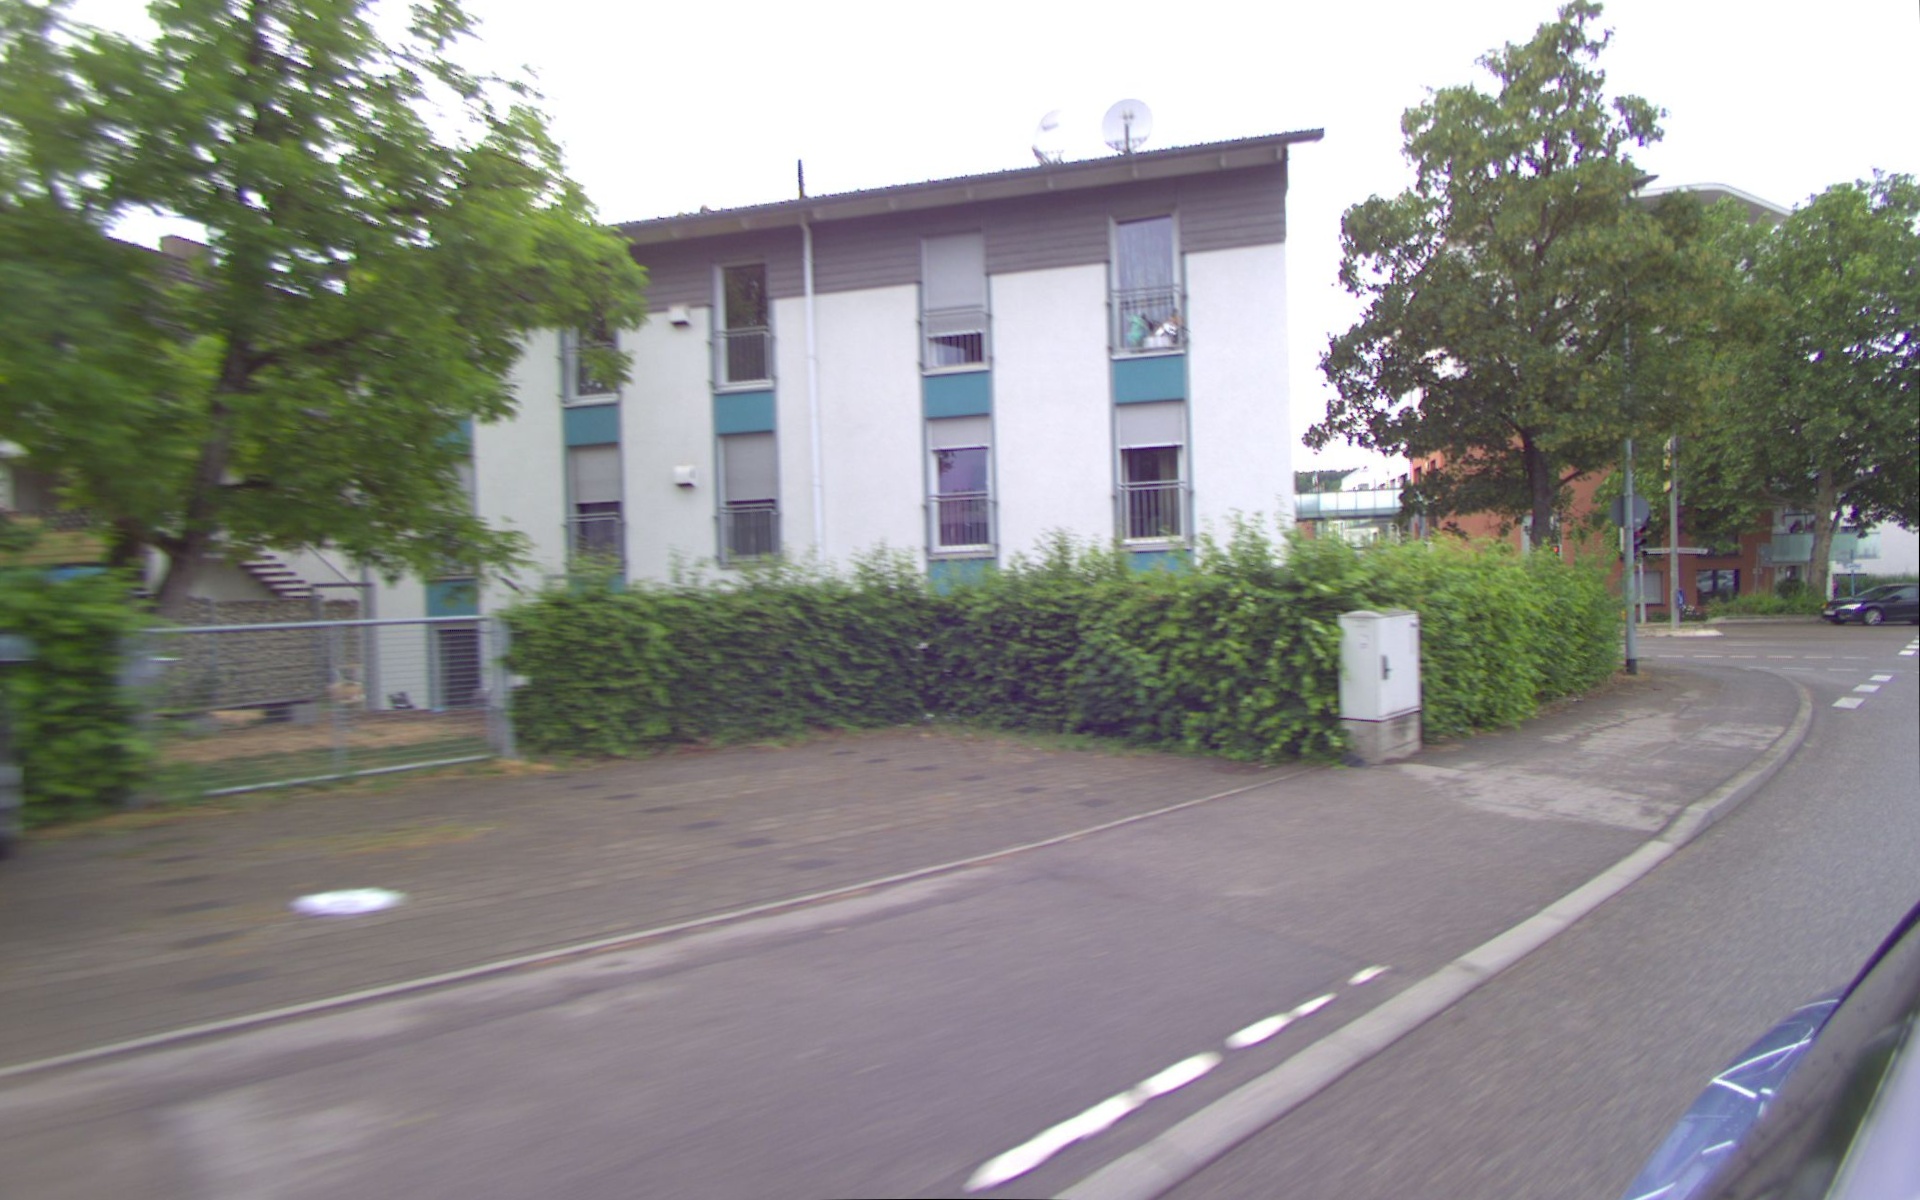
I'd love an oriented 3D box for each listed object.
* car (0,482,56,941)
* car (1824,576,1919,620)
[{"bbox_3d":[-5.085,0.457,4.065,1.948,1.772,4.221,1,-1,-39],"label":"car"},{"bbox_3d":[33.347,-0.098,35.760,3.928,1.445,1.769,-2,1,4],"label":"car"}]
